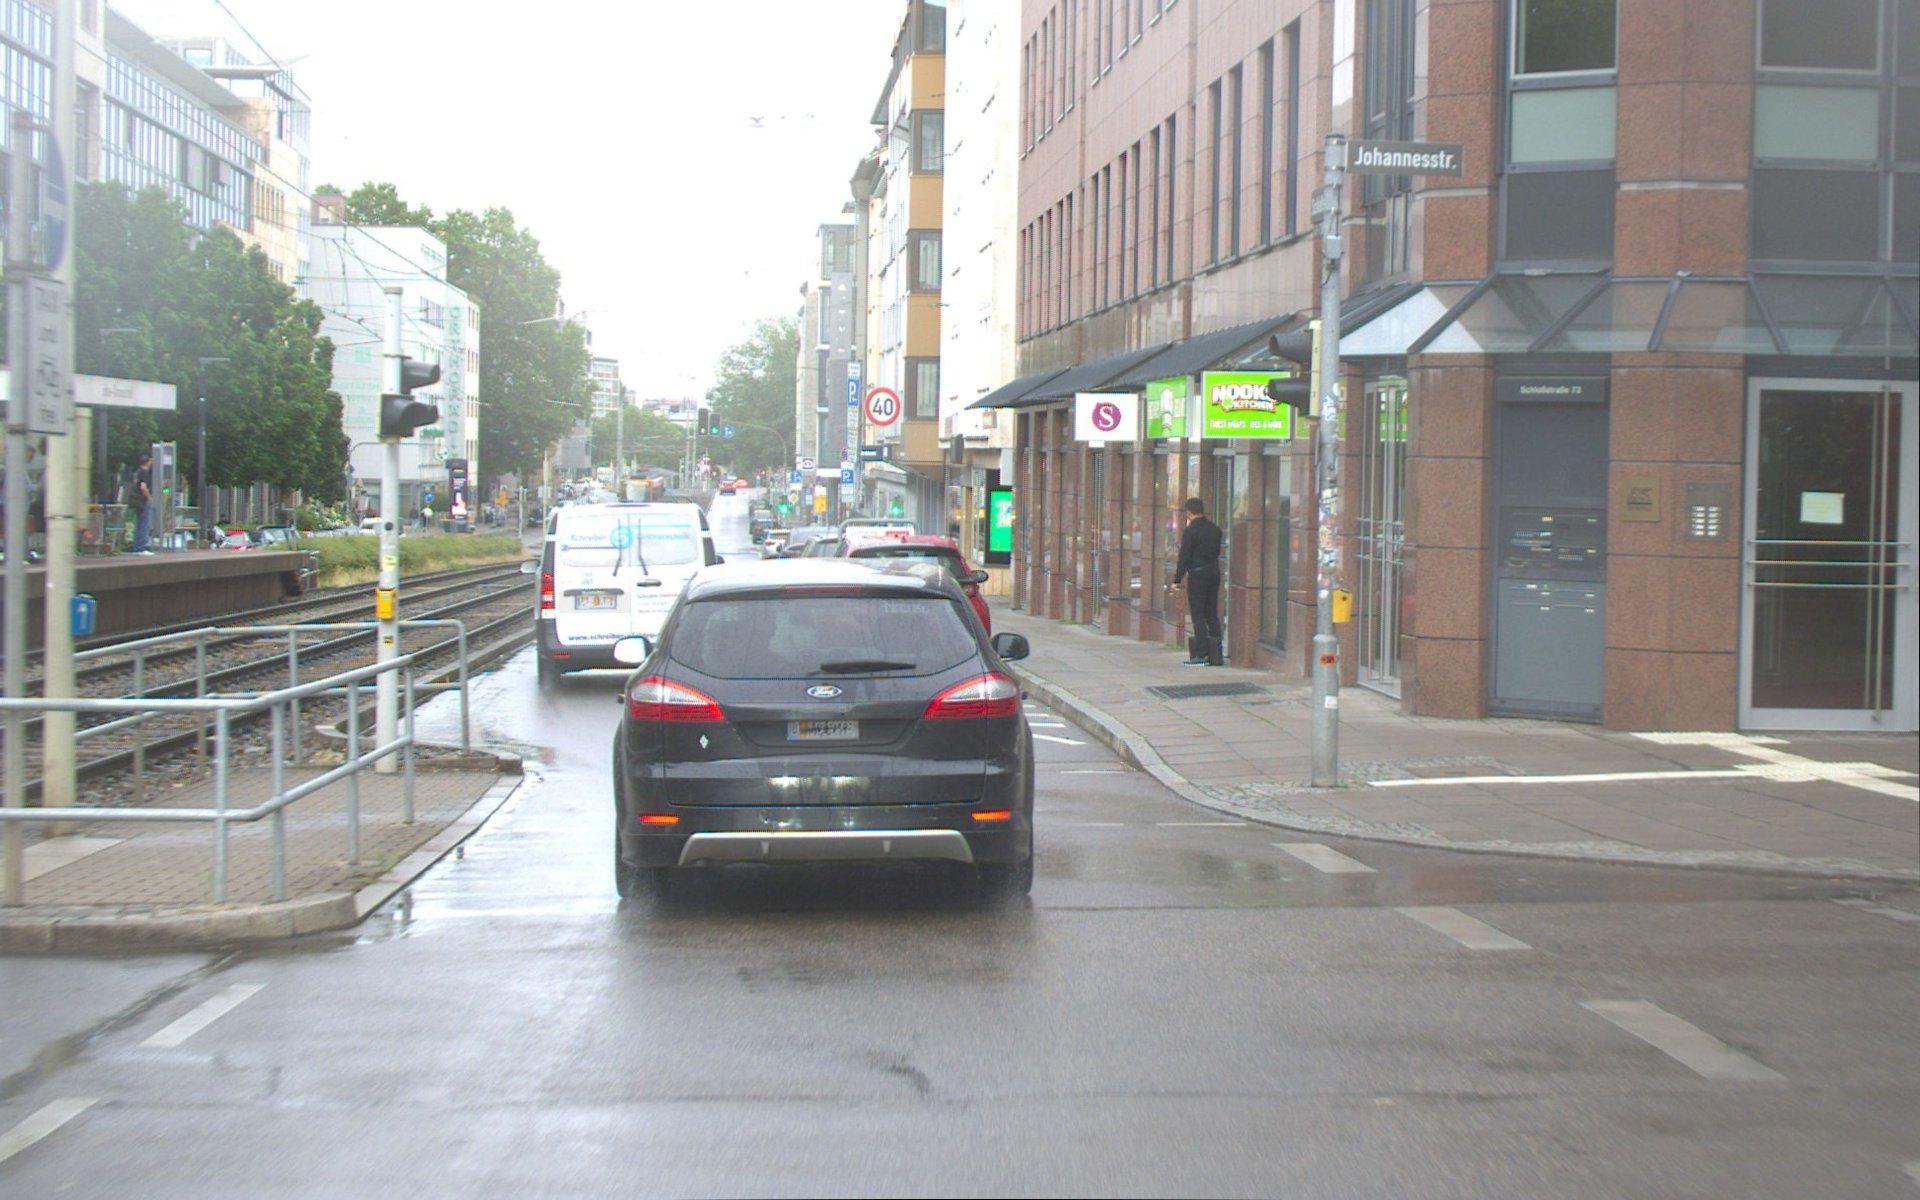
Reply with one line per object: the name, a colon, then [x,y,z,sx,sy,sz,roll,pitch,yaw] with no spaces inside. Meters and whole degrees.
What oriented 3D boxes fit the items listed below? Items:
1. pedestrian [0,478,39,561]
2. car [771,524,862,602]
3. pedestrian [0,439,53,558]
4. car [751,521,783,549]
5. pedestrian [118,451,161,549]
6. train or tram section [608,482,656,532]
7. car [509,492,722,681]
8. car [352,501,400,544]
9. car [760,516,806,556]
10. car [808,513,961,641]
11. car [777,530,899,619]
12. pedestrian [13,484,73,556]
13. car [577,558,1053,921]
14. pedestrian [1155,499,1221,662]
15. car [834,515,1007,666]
pedestrian: [-14.372,-1.218,52.072,0.692,1.245,0.884,0,1,-6]
car: [-3.121,-0.811,74.041,1.807,1.626,5.170,0,1,-4]
pedestrian: [-13.541,-1.469,49.813,0.655,1.705,0.850,0,1,-6]
car: [-11.623,-3.890,207.168,1.906,1.628,4.574,0,0,-3]
pedestrian: [-15.049,-1.827,63.068,0.655,1.795,0.850,0,1,-6]
train or tram section: [-25.195,-7.107,263.947,3.512,3.764,11.334,0,1,-6]
car: [-3.695,-0.150,36.248,1.906,1.858,4.575,0,0,-10]
car: [-26.043,-3.439,153.401,1.906,1.858,4.575,0,0,-7]
car: [-7.476,-2.673,145.315,1.906,1.628,4.574,0,0,-3]
car: [-0.972,-0.287,42.364,1.698,1.457,3.867,-2,0,-3]
car: [-2.124,-0.458,58.887,1.773,1.463,4.610,0,1,-6]
pedestrian: [-14.422,-1.258,54.082,0.892,1.119,0.850,0,1,-14]
car: [-0.677,0.552,15.574,1.906,1.457,3.445,0,0,-3]
pedestrian: [2.336,-0.204,35.273,0.601,1.654,0.625,0,0,-3]
car: [-0.467,-0.115,36.677,1.698,1.474,3.867,-2,0,-2]
